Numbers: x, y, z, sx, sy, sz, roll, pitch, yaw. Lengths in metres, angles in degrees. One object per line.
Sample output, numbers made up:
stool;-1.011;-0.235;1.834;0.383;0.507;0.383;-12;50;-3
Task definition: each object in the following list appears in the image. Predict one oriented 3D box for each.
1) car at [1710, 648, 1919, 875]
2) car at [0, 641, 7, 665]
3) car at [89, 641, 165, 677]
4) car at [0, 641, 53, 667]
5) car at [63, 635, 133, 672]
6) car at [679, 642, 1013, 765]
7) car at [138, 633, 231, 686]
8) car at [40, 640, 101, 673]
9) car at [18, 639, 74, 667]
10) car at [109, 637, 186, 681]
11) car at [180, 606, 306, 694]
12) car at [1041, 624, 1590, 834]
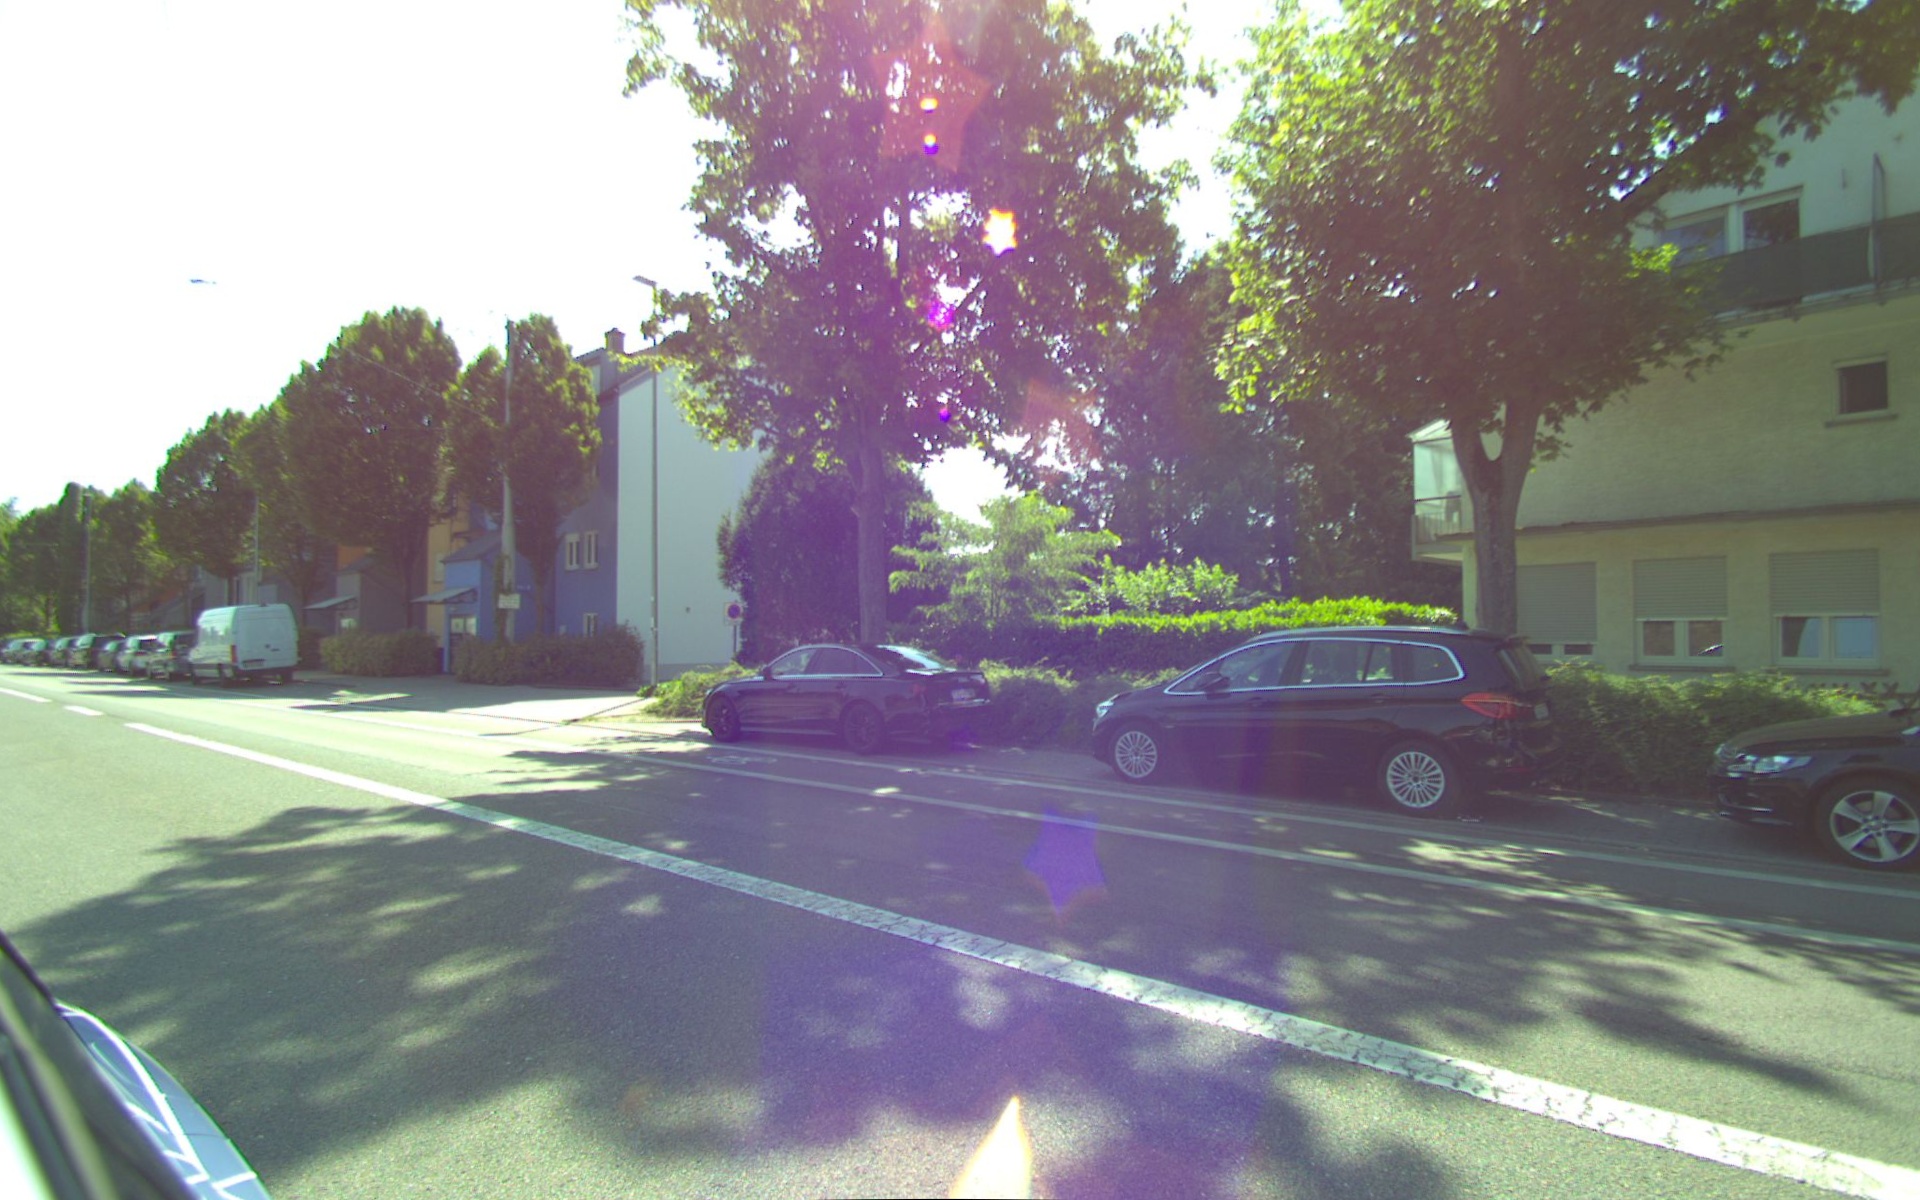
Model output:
car;7.657;1.023;6.209;4.780;1.390;1.673;-2;-2;41
car;-66.719;3.585;68.748;4.920;1.588;1.889;-1;-1;35
car;-39.125;2.749;47.513;4.069;1.466;1.849;-2;1;38
car;-57.288;3.294;61.876;4.826;1.457;1.662;-1;-1;35
car;-43.157;2.641;50.643;4.343;1.741;1.812;-2;0;38
car;-1.760;1.343;14.465;4.903;1.477;1.822;-2;-3;38
car;-31.023;2.327;40.428;4.964;1.880;1.973;-2;1;41
car;-47.340;2.958;53.848;4.159;1.620;1.661;-2;-1;38
car;-52.221;3.008;57.796;4.207;1.481;1.661;-2;-1;38
car;-35.366;2.516;44.005;4.539;1.715;1.829;-1;1;42
car;-24.950;1.687;35.071;7.084;2.697;1.972;-2;0;42
car;3.303;1.084;10.147;4.891;1.618;1.743;-2;-2;41
